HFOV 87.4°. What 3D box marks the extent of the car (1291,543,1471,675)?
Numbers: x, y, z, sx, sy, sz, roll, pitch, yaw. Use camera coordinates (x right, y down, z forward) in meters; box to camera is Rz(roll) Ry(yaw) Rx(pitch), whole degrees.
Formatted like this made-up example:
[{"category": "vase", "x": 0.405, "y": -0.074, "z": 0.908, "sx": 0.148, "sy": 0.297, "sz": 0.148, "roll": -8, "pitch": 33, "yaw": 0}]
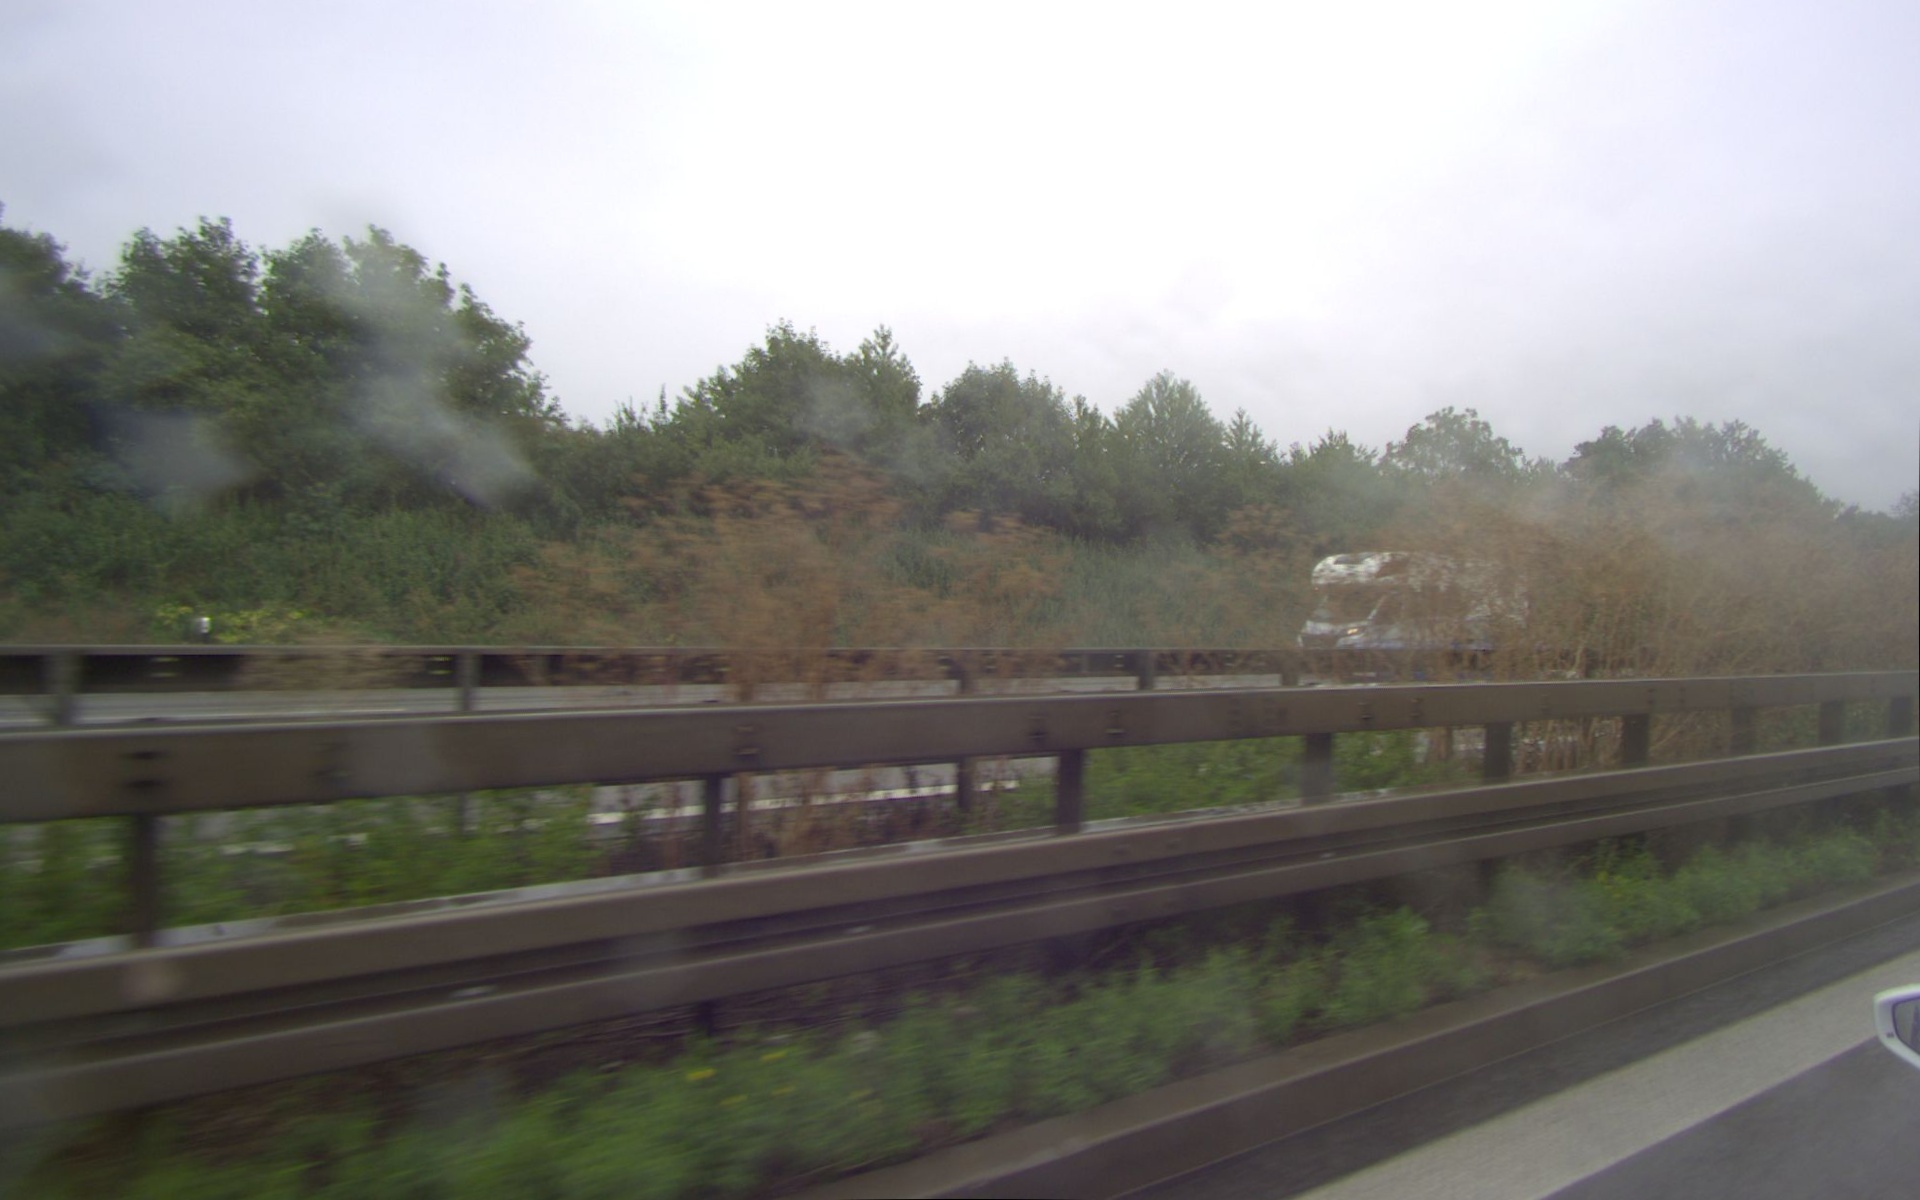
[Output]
[{"category": "car", "x": 10.713, "y": 0.274, "z": 25.489, "sx": 4.368, "sy": 3.095, "sz": 1.984, "roll": 2, "pitch": -1, "yaw": -31}]
